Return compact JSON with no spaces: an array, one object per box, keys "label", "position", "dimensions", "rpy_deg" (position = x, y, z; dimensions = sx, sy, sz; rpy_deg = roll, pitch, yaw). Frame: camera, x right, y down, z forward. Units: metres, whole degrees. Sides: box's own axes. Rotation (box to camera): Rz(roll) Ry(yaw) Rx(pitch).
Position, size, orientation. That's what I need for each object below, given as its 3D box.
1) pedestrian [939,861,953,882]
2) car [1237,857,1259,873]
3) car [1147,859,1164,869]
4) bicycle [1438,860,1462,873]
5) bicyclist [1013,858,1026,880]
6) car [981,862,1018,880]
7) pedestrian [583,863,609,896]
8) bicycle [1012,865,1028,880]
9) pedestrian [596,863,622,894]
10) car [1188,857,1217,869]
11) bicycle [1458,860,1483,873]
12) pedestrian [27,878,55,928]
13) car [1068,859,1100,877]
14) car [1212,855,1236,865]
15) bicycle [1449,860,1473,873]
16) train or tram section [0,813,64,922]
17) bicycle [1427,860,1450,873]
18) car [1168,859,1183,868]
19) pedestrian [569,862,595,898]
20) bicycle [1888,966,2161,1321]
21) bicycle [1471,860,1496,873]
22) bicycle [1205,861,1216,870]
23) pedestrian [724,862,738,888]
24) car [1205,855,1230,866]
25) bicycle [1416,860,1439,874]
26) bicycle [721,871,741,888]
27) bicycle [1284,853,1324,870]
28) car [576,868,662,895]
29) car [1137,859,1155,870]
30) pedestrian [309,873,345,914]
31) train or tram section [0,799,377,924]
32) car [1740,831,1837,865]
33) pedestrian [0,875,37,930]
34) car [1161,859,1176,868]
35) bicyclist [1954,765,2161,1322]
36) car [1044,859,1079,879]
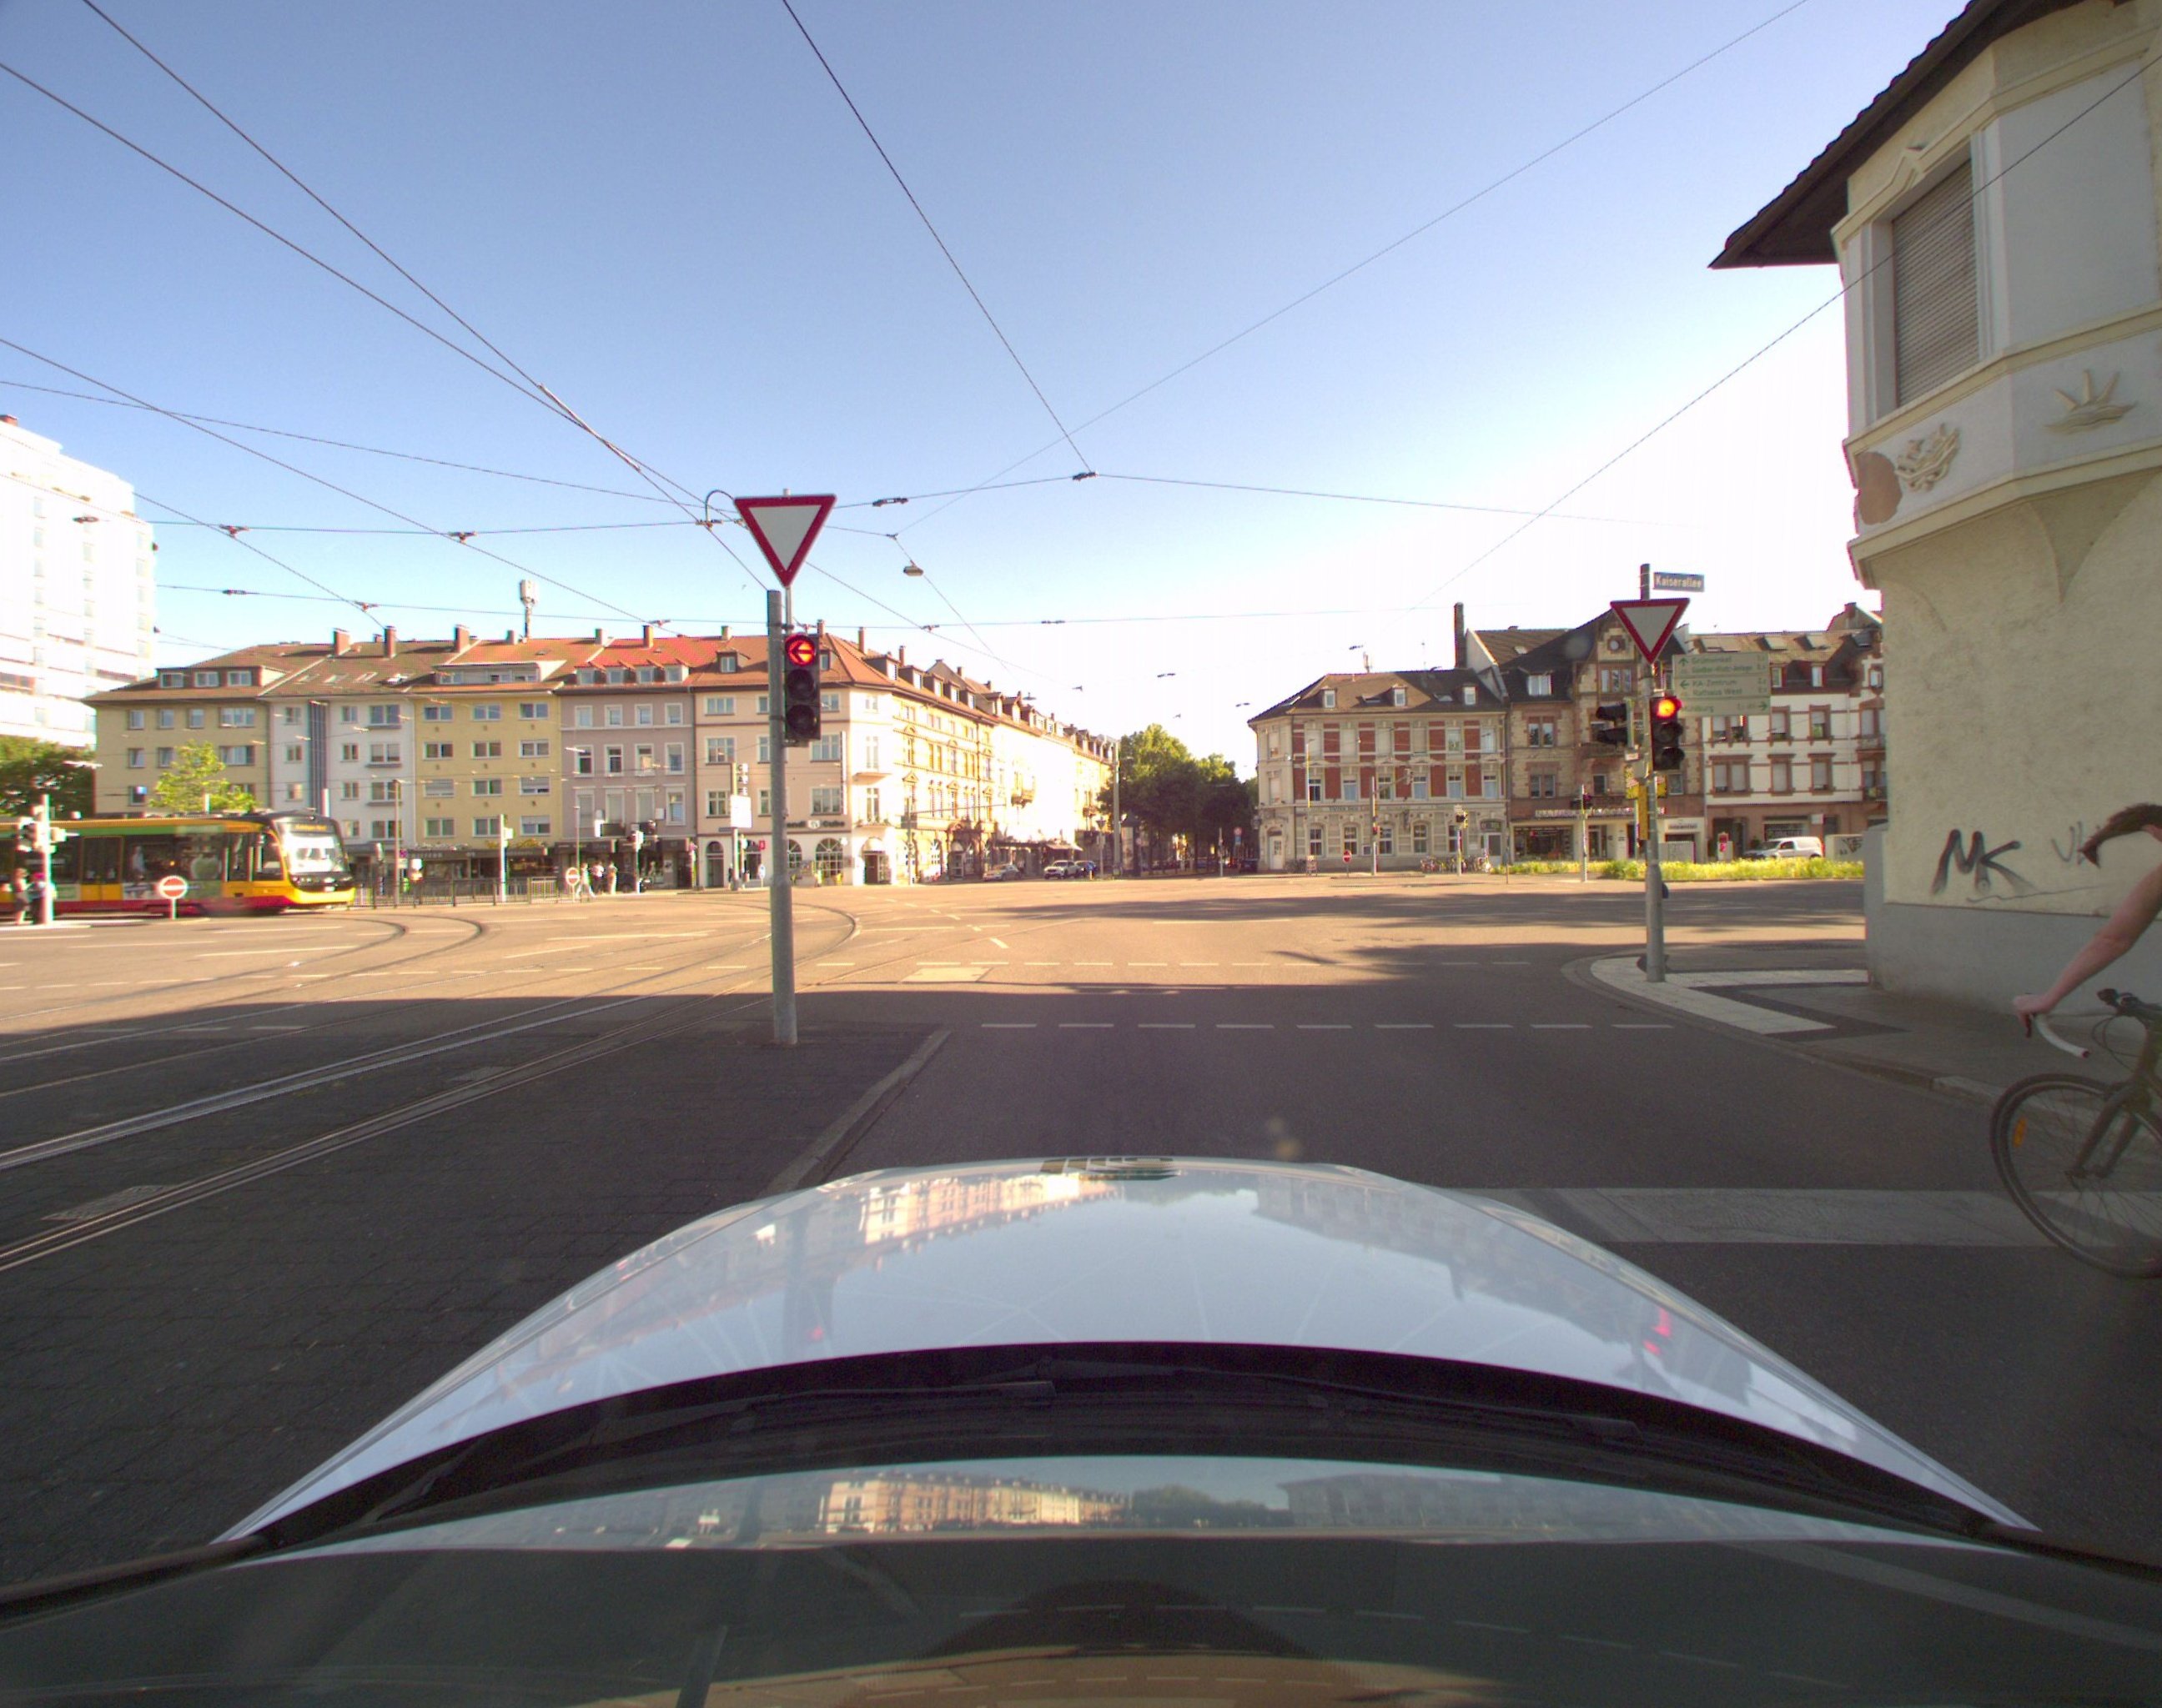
[{"label":"pedestrian","position":[-10.786,1.358,65.076],"dimensions":[0.770,1.670,0.834],"rpy_deg":[-1,-1,17]},{"label":"car","position":[16.905,1.097,82.329],"dimensions":[1.664,1.483,3.967],"rpy_deg":[-2,0,19]},{"label":"car","position":[11.247,1.516,122.359],"dimensions":[1.664,1.354,3.608],"rpy_deg":[-2,0,19]},{"label":"bicycle","position":[23.884,0.814,52.735],"dimensions":[0.656,0.840,2.162],"rpy_deg":[0,-1,3]},{"label":"bicyclist","position":[-4.940,1.209,65.411],"dimensions":[0.772,1.803,1.060],"rpy_deg":[-1,-1,16]},{"label":"car","position":[-6.709,1.425,67.222],"dimensions":[1.664,1.354,3.608],"rpy_deg":[-2,0,19]},{"label":"pedestrian","position":[-23.400,1.236,39.293],"dimensions":[0.720,1.577,0.836],"rpy_deg":[-1,-1,11]},{"label":"bicycle","position":[-4.894,1.484,65.531],"dimensions":[0.696,1.118,1.642],"rpy_deg":[-1,-1,16]},{"label":"pedestrian","position":[-24.645,1.287,42.542],"dimensions":[0.842,1.577,0.836],"rpy_deg":[-1,-1,11]},{"label":"car","position":[17.208,1.257,115.450],"dimensions":[3.870,1.648,1.691],"rpy_deg":[-2,0,19]},{"label":"bicycle","position":[25.204,0.804,52.697],"dimensions":[0.656,0.840,2.162],"rpy_deg":[0,-1,3]},{"label":"pedestrian","position":[-31.917,1.498,24.989],"dimensions":[0.456,1.505,0.485],"rpy_deg":[-1,1,38]},{"label":"car","position":[0.308,1.241,73.766],"dimensions":[1.664,1.483,3.967],"rpy_deg":[-2,0,19]},{"label":"car","position":[23.359,0.966,133.149],"dimensions":[3.549,1.648,1.691],"rpy_deg":[-2,0,19]},{"label":"bicycle","position":[24.568,0.809,52.742],"dimensions":[0.656,0.840,2.162],"rpy_deg":[0,-1,3]},{"label":"train or tram section","position":[-44.121,0.611,28.780],"dimensions":[12.734,3.814,2.942],"rpy_deg":[-1,0,1]},{"label":"bicycle","position":[23.160,0.819,52.750],"dimensions":[0.656,0.840,2.162],"rpy_deg":[0,-1,3]},{"label":"car","position":[15.725,1.522,135.597],"dimensions":[1.664,1.354,3.608],"rpy_deg":[-2,0,19]},{"label":"pedestrian","position":[-22.350,1.149,36.468],"dimensions":[0.545,1.577,0.838],"rpy_deg":[-1,-1,29]},{"label":"bicycle","position":[3.596,0.957,2.505],"dimensions":[0.516,0.970,1.750],"rpy_deg":[-1,0,2]},{"label":"bicycle","position":[26.008,0.798,52.712],"dimensions":[0.656,0.840,2.162],"rpy_deg":[0,-1,3]},{"label":"bicycle","position":[15.772,1.392,99.275],"dimensions":[0.636,1.021,1.839],"rpy_deg":[0,-1,-12]},{"label":"pedestrian","position":[-22.803,1.361,53.108],"dimensions":[0.580,1.670,0.753],"rpy_deg":[0,-1,2]},{"label":"car","position":[21.453,1.060,127.716],"dimensions":[3.549,1.648,1.691],"rpy_deg":[-2,0,19]},{"label":"bicycle","position":[22.425,0.824,52.691],"dimensions":[0.656,0.840,2.162],"rpy_deg":[0,-1,3]},{"label":"bicycle","position":[-22.802,1.654,53.088],"dimensions":[0.570,1.077,1.497],"rpy_deg":[0,-1,2]},{"label":"bicycle","position":[15.603,0.500,57.054],"dimensions":[2.547,1.174,0.818],"rpy_deg":[0,-1,-1]},{"label":"car","position":[-30.366,1.790,53.635],"dimensions":[4.347,1.711,2.308],"rpy_deg":[0,-1,4]},{"label":"car","position":[9.177,1.493,115.442],"dimensions":[1.664,1.354,3.608],"rpy_deg":[-2,0,19]},{"label":"pedestrian","position":[-29.557,1.524,31.925],"dimensions":[0.657,1.577,0.889],"rpy_deg":[-1,-1,29]},{"label":"train or tram section","position":[-31.556,0.303,27.971],"dimensions":[12.945,3.814,2.946],"rpy_deg":[-1,0,6]},{"label":"car","position":[45.442,-0.383,52.395],"dimensions":[4.406,2.013,2.002],"rpy_deg":[-1,0,4]},{"label":"pedestrian","position":[-32.922,1.499,25.238],"dimensions":[0.456,1.644,0.643],"rpy_deg":[-1,1,38]},{"label":"car","position":[14.038,1.503,130.604],"dimensions":[1.664,1.354,3.608],"rpy_deg":[-2,0,19]},{"label":"bicyclist","position":[3.572,0.576,2.496],"dimensions":[0.570,1.701,1.117],"rpy_deg":[-1,0,2]},{"label":"car","position":[-1.604,1.214,67.506],"dimensions":[1.664,1.483,3.789],"rpy_deg":[-2,0,19]}]
